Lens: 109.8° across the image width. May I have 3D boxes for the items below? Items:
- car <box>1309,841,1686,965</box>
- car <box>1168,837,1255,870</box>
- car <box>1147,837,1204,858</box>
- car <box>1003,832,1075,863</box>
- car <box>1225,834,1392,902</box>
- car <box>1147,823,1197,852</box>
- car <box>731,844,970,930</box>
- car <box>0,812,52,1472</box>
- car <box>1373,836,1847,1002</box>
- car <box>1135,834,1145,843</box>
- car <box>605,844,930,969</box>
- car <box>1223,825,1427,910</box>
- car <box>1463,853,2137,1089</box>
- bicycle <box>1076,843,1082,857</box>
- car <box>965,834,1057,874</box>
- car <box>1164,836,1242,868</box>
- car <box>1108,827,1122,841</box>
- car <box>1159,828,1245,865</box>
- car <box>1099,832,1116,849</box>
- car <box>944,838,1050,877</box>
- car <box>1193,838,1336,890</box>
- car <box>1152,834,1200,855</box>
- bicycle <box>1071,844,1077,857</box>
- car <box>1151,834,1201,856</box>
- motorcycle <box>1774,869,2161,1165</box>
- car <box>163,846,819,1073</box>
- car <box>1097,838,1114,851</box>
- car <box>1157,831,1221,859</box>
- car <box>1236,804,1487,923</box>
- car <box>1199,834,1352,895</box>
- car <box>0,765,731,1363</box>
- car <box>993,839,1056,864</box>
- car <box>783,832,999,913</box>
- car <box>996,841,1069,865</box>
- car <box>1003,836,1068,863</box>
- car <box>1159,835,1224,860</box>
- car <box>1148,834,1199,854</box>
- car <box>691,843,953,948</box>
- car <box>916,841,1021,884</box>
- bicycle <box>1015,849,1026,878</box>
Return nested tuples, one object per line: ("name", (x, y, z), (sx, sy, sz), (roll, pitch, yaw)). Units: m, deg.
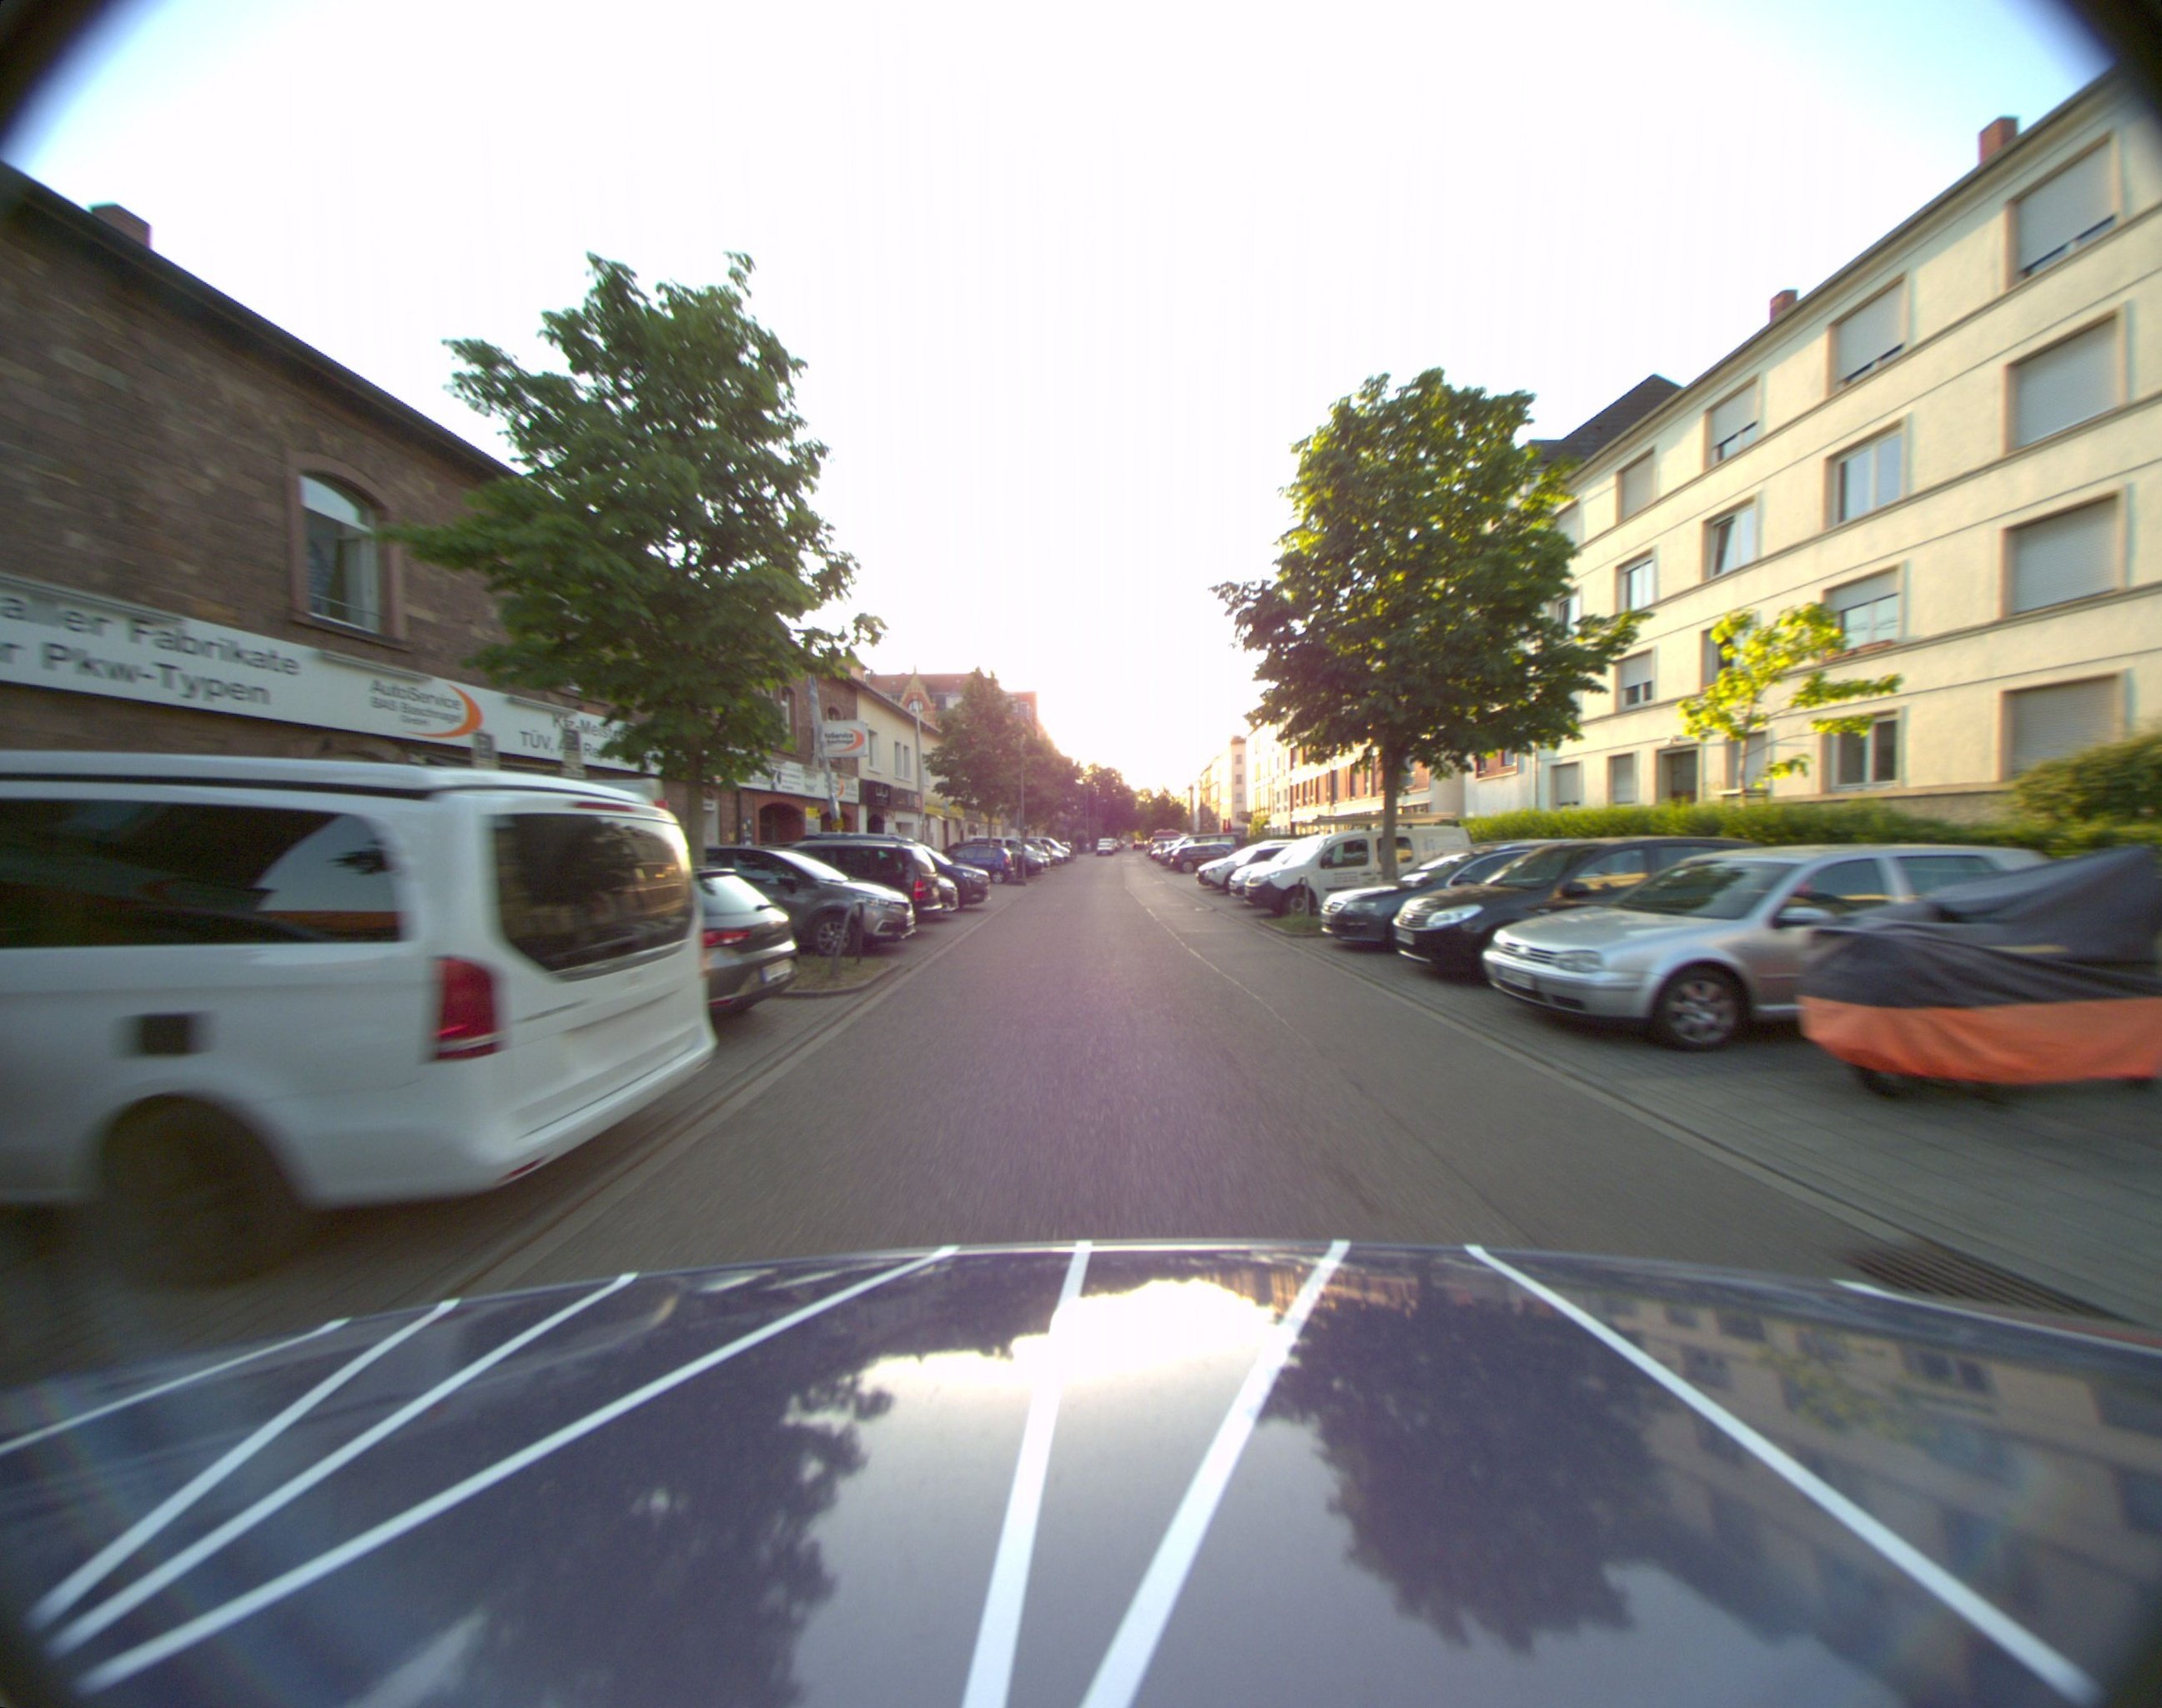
("car", (5.722, 0.640, 10.901), (4.336, 1.397, 1.851), (-3, 2, 3))
("car", (6.700, -0.033, 39.320), (4.149, 1.408, 1.738), (-4, 2, -1))
("car", (7.356, -0.520, 59.223), (4.272, 1.485, 1.788), (-1, 2, 4))
("car", (-3.103, -0.498, 56.808), (4.970, 2.090, 2.151), (-1, 3, 7))
("car", (6.197, 0.353, 21.023), (3.997, 1.476, 1.755), (-5, 1, 1))
("car", (8.331, -1.496, 69.595), (4.411, 2.542, 1.932), (-1, 2, 4))
("car", (-4.749, 0.649, 16.156), (4.425, 1.566, 1.981), (2, 1, 0))
("car", (-4.971, 0.775, 1.097), (4.311, 1.789, 1.904), (-2, 2, 1))
("car", (5.576, 0.645, 8.441), (3.996, 1.574, 1.728), (-1, 2, 3))
("car", (10.843, -2.849, 139.732), (1.762, 1.479, 3.783), (1, 2, 2))
("car", (-4.390, 0.699, 11.144), (3.956, 1.556, 1.820), (-2, 2, -1))
("car", (5.918, 0.307, 18.864), (4.431, 1.792, 1.943), (-3, 1, 4))
("car", (5.340, 0.812, 6.063), (3.722, 1.498, 1.689), (-2, 2, 1))
("bicycle", (-0.178, -0.332, 63.576), (0.357, 1.093, 1.971), (-1, 2, 2))
("car", (-3.776, -0.055, 41.463), (4.597, 1.851, 2.012), (3, 2, 4))
("car", (6.591, -0.133, 41.339), (3.894, 1.485, 1.653), (-3, 2, 0))
("car", (4.986, -2.903, 111.280), (1.998, 2.002, 3.999), (-1, 2, 2))
("car", (7.000, -0.439, 44.345), (4.865, 2.043, 2.000), (-1, 1, 6))
("car", (3.182, -1.648, 90.699), (1.939, 1.893, 4.054), (-1, 2, 2))
("car", (-3.969, 0.126, 36.379), (4.705, 1.622, 2.000), (2, 2, 4))
("car", (6.219, 0.311, 26.133), (4.419, 1.443, 1.827), (-4, 2, 0))
("car", (8.047, -0.814, 64.397), (3.957, 1.531, 1.755), (-2, 2, 5))
("bicycle", (-0.602, -0.334, 63.557), (0.357, 1.018, 1.971), (-1, 2, 2))
("car", (7.714, -0.714, 61.753), (3.894, 1.608, 1.700), (-2, 2, 5))
("motorcycle", (5.203, 0.845, 4.289), (1.991, 1.428, 0.721), (-2, 2, -3))
("car", (-4.510, 0.749, 6.301), (3.997, 1.501, 1.776), (-2, 2, 1))
("car", (2.731, -1.086, 84.970), (1.732, 1.367, 3.762), (-1, 2, 2))
("car", (7.617, -0.622, 53.844), (4.188, 1.885, 1.897), (-1, 1, -1))
("car", (5.745, 0.188, 16.100), (4.522, 2.058, 2.000), (-4, 1, 5))
("car", (5.921, 0.306, 23.492), (4.253, 1.611, 1.813), (-3, 1, 2))
("car", (-4.083, 0.692, 3.429), (3.997, 1.893, 1.999), (-2, 2, 1))
("car", (-3.591, -0.205, 48.742), (3.794, 1.488, 1.680), (1, 2, 1))
("car", (-4.576, 0.427, 18.892), (4.798, 1.744, 2.017), (2, 1, 1))
("car", (-3.228, -0.082, 51.328), (4.732, 1.488, 2.000), (1, 2, 2))
("car", (-3.217, -0.326, 54.108), (4.300, 1.848, 2.000), (1, 2, 6))
("car", (7.489, -0.449, 51.771), (3.999, 1.580, 2.052), (-1, 2, -5))
("car", (8.078, -0.906, 66.750), (4.346, 1.516, 1.705), (-2, 2, 3))
("car", (-4.466, 0.676, 13.544), (3.997, 1.610, 1.894), (1, 2, 0))
("car", (-4.646, 0.338, 31.690), (3.996, 1.537, 1.844), (2, 2, 2))
("bicycle", (-2.707, 0.413, 34.074), (0.309, 1.186, 1.762), (-1, 2, 2))
